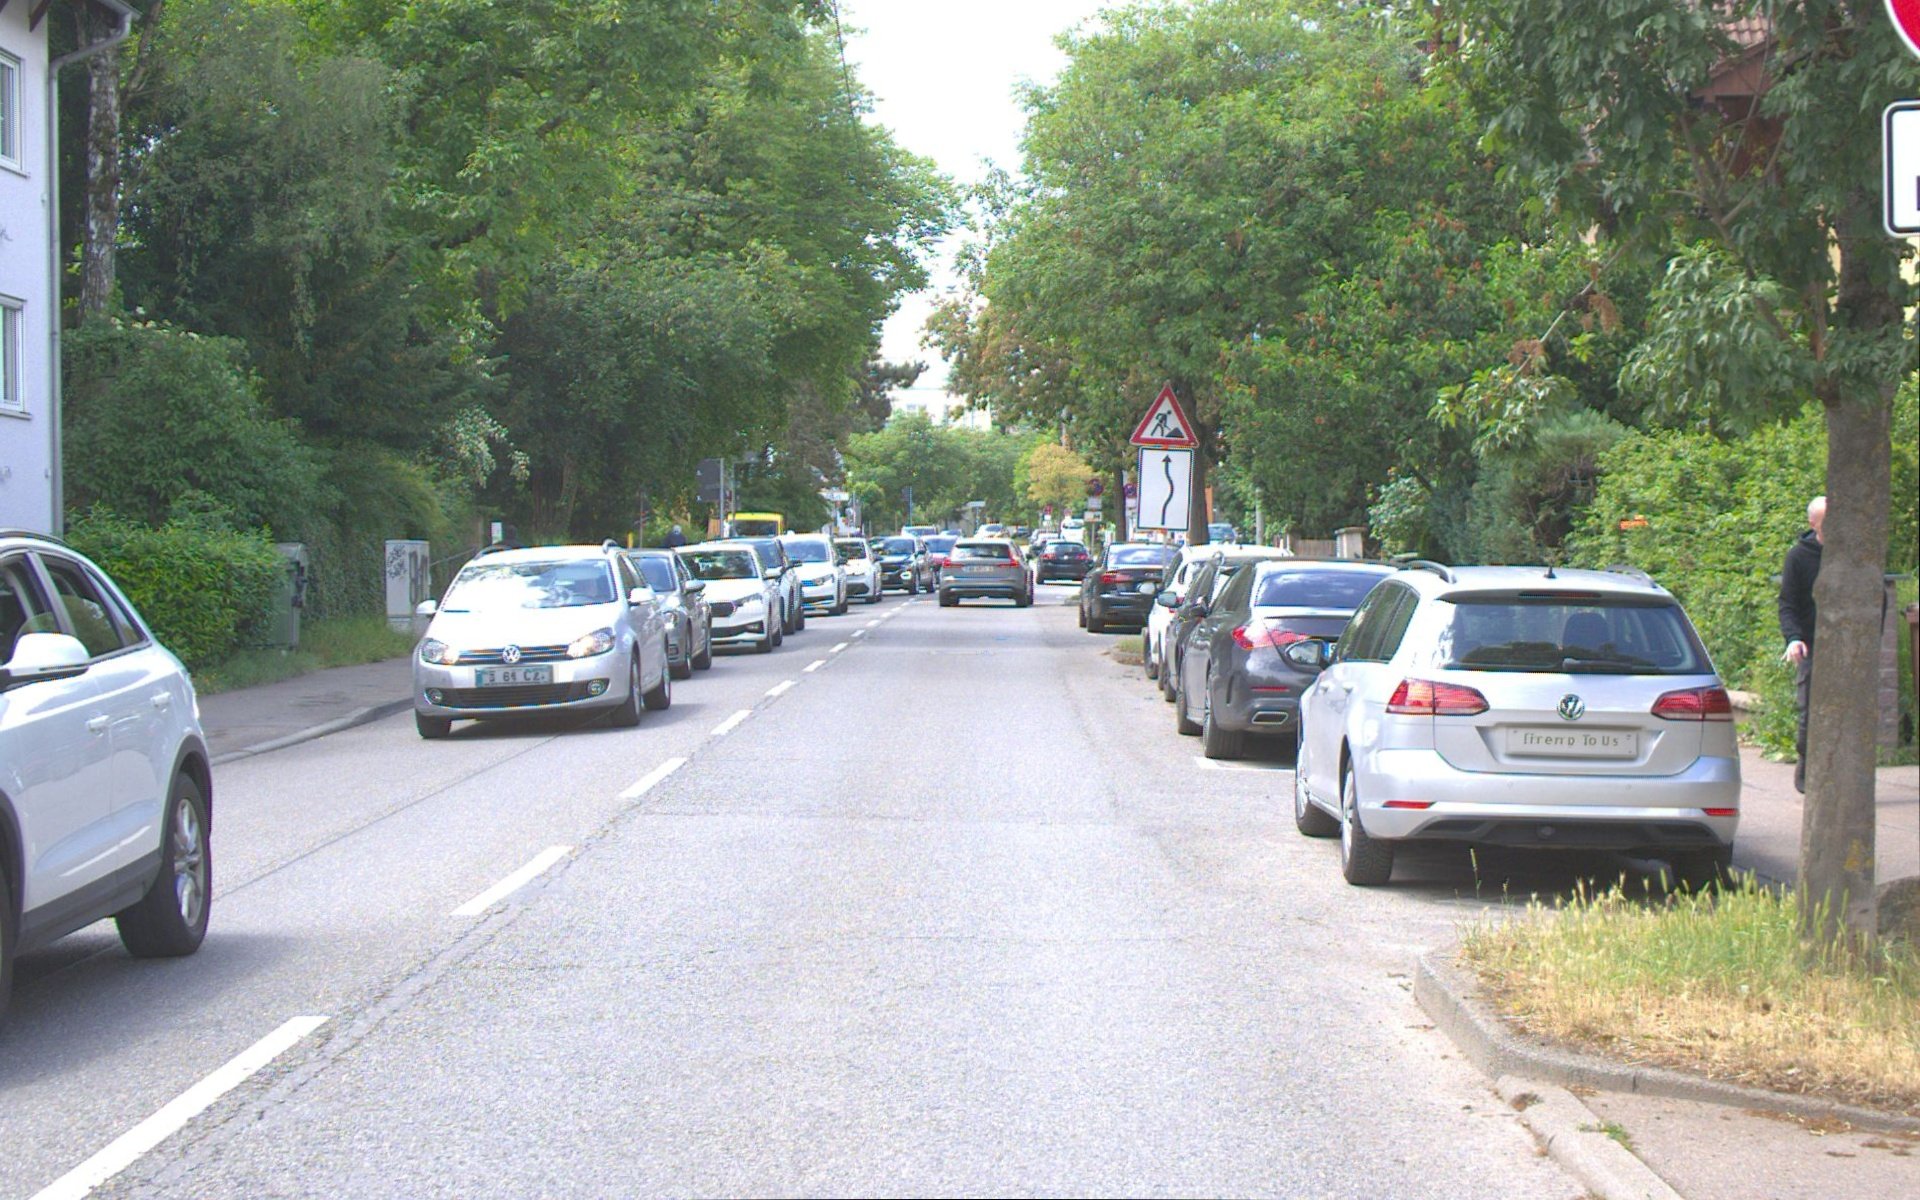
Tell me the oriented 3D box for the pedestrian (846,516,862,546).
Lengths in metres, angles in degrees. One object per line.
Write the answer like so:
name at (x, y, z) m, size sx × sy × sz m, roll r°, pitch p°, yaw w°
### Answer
pedestrian at (-5.057, -3.303, 164.304) m, size 0.705 × 1.434 × 0.713 m, roll 0°, pitch 0°, yaw 5°

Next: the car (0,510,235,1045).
car at (-3.726, 0.537, 11.094) m, size 1.806 × 1.566 × 4.159 m, roll -2°, pitch 1°, yaw 0°

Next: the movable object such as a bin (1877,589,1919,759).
movable object such as a bin at (6.209, 0.470, 22.099) m, size 0.523 × 1.077 × 0.604 m, roll 0°, pitch 0°, yaw 6°

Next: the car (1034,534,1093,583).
car at (3.283, -1.325, 108.623) m, size 1.816 × 1.495 × 4.267 m, roll 1°, pitch 1°, yaw 2°

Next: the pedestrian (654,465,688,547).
pedestrian at (-6.255, -2.023, 74.386) m, size 0.714 × 1.756 × 1.122 m, roll 0°, pitch 0°, yaw -5°

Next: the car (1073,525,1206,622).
car at (2.851, -0.459, 55.523) m, size 1.801 × 1.440 × 4.887 m, roll 2°, pitch 1°, yaw 0°

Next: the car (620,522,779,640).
car at (-3.429, -0.289, 45.862) m, size 1.760 × 1.434 × 3.970 m, roll -2°, pitch 1°, yaw 0°

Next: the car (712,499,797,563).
car at (-6.574, -2.202, 110.451) m, size 2.146 × 1.974 × 4.930 m, roll 0°, pitch 0°, yaw 3°

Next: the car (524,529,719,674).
car at (-3.757, -0.009, 38.773) m, size 1.709 × 1.451 × 4.287 m, roll -3°, pitch 1°, yaw 0°

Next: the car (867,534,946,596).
car at (-1.377, -0.934, 89.935) m, size 1.789 × 1.536 × 4.263 m, roll -2°, pitch 1°, yaw 2°

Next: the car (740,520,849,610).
car at (-3.216, -0.715, 67.629) m, size 1.786 × 1.642 × 4.491 m, roll -2°, pitch 1°, yaw 1°

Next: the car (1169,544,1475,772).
car at (2.560, 0.347, 25.360) m, size 1.734 × 1.424 × 4.883 m, roll 3°, pitch 1°, yaw 1°

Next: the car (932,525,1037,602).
car at (0.557, -0.803, 73.955) m, size 1.976 × 1.508 × 4.266 m, roll 3°, pitch 1°, yaw 3°

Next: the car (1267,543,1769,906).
car at (2.566, 0.483, 16.916) m, size 1.701 × 1.475 × 4.872 m, roll 1°, pitch 1°, yaw 1°

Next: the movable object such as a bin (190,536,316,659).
movable object such as a bin at (-8.299, -0.028, 40.432) m, size 1.329 × 1.422 × 1.214 m, roll 0°, pitch 0°, yaw -5°

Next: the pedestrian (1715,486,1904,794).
pedestrian at (4.797, 0.220, 19.461) m, size 0.880 × 1.706 × 0.842 m, roll 0°, pitch 0°, yaw 2°

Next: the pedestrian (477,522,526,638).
pedestrian at (-6.647, -0.287, 49.904) m, size 0.653 × 1.661 × 0.932 m, roll 0°, pitch 0°, yaw -5°

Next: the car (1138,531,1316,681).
car at (2.800, 0.023, 36.662) m, size 1.622 × 1.502 × 3.779 m, roll 0°, pitch 1°, yaw 0°

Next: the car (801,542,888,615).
car at (-2.680, -0.534, 80.416) m, size 1.785 × 1.586 × 4.154 m, roll -2°, pitch 1°, yaw 1°

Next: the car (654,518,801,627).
car at (-3.616, -0.460, 54.125) m, size 1.928 × 1.541 × 4.086 m, roll -3°, pitch 1°, yaw 1°

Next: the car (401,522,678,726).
car at (-3.412, 0.138, 28.610) m, size 1.728 × 1.497 × 4.376 m, roll -2°, pitch 1°, yaw 0°

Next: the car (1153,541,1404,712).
car at (2.811, 0.185, 31.263) m, size 1.993 × 1.418 × 4.588 m, roll 0°, pitch 1°, yaw 2°

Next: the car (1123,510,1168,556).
car at (8.361, -3.027, 155.330) m, size 1.994 × 2.007 × 4.000 m, roll 0°, pitch 0°, yaw 2°
